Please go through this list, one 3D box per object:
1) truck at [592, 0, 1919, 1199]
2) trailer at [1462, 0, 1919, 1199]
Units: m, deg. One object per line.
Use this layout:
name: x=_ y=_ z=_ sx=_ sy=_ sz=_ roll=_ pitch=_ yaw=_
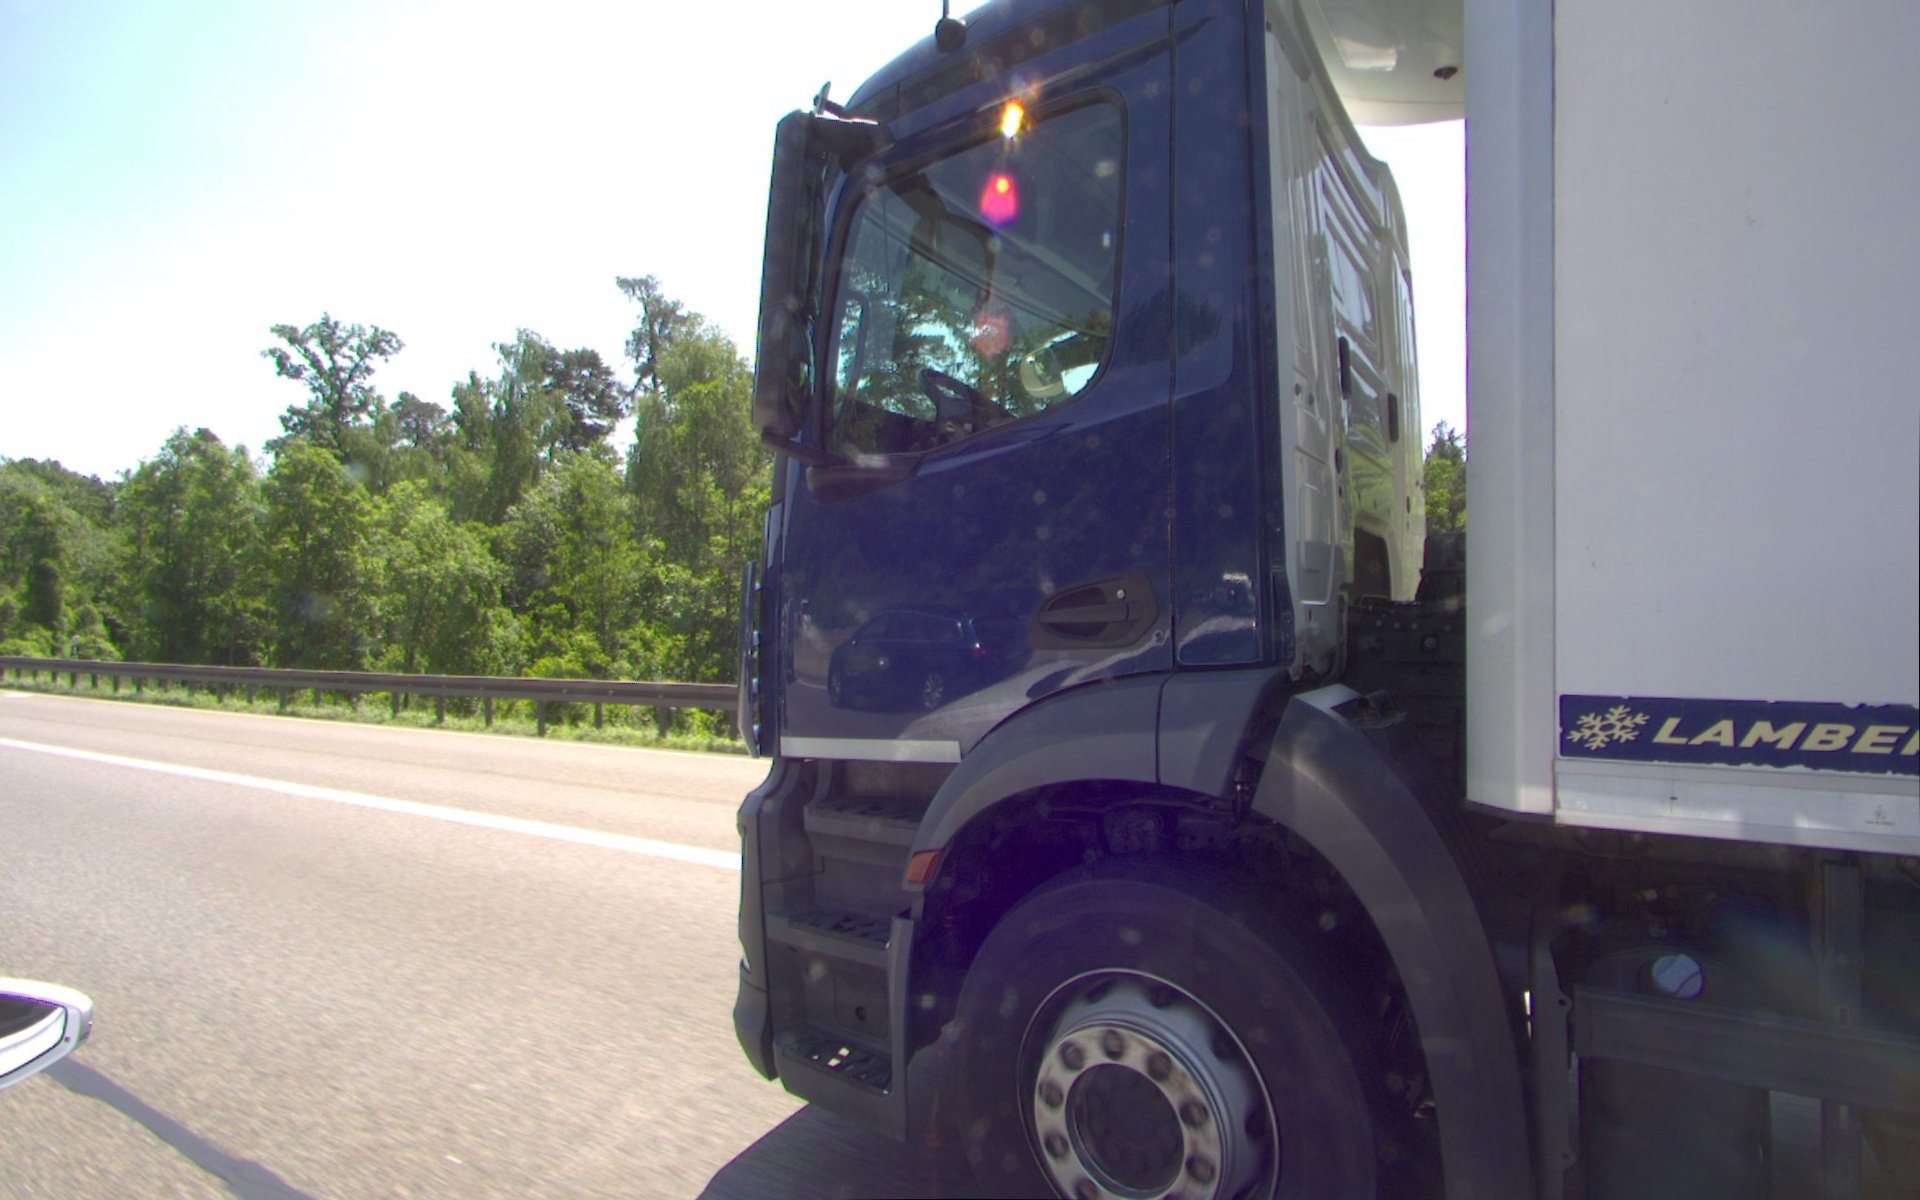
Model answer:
truck: x=1.455 y=0.013 z=2.533 sx=4.047 sy=2.979 sz=2.550 roll=-2 pitch=-1 yaw=33
trailer: x=4.686 y=-0.096 z=0.497 sx=7.768 sy=2.936 sz=2.552 roll=-1 pitch=-1 yaw=32
